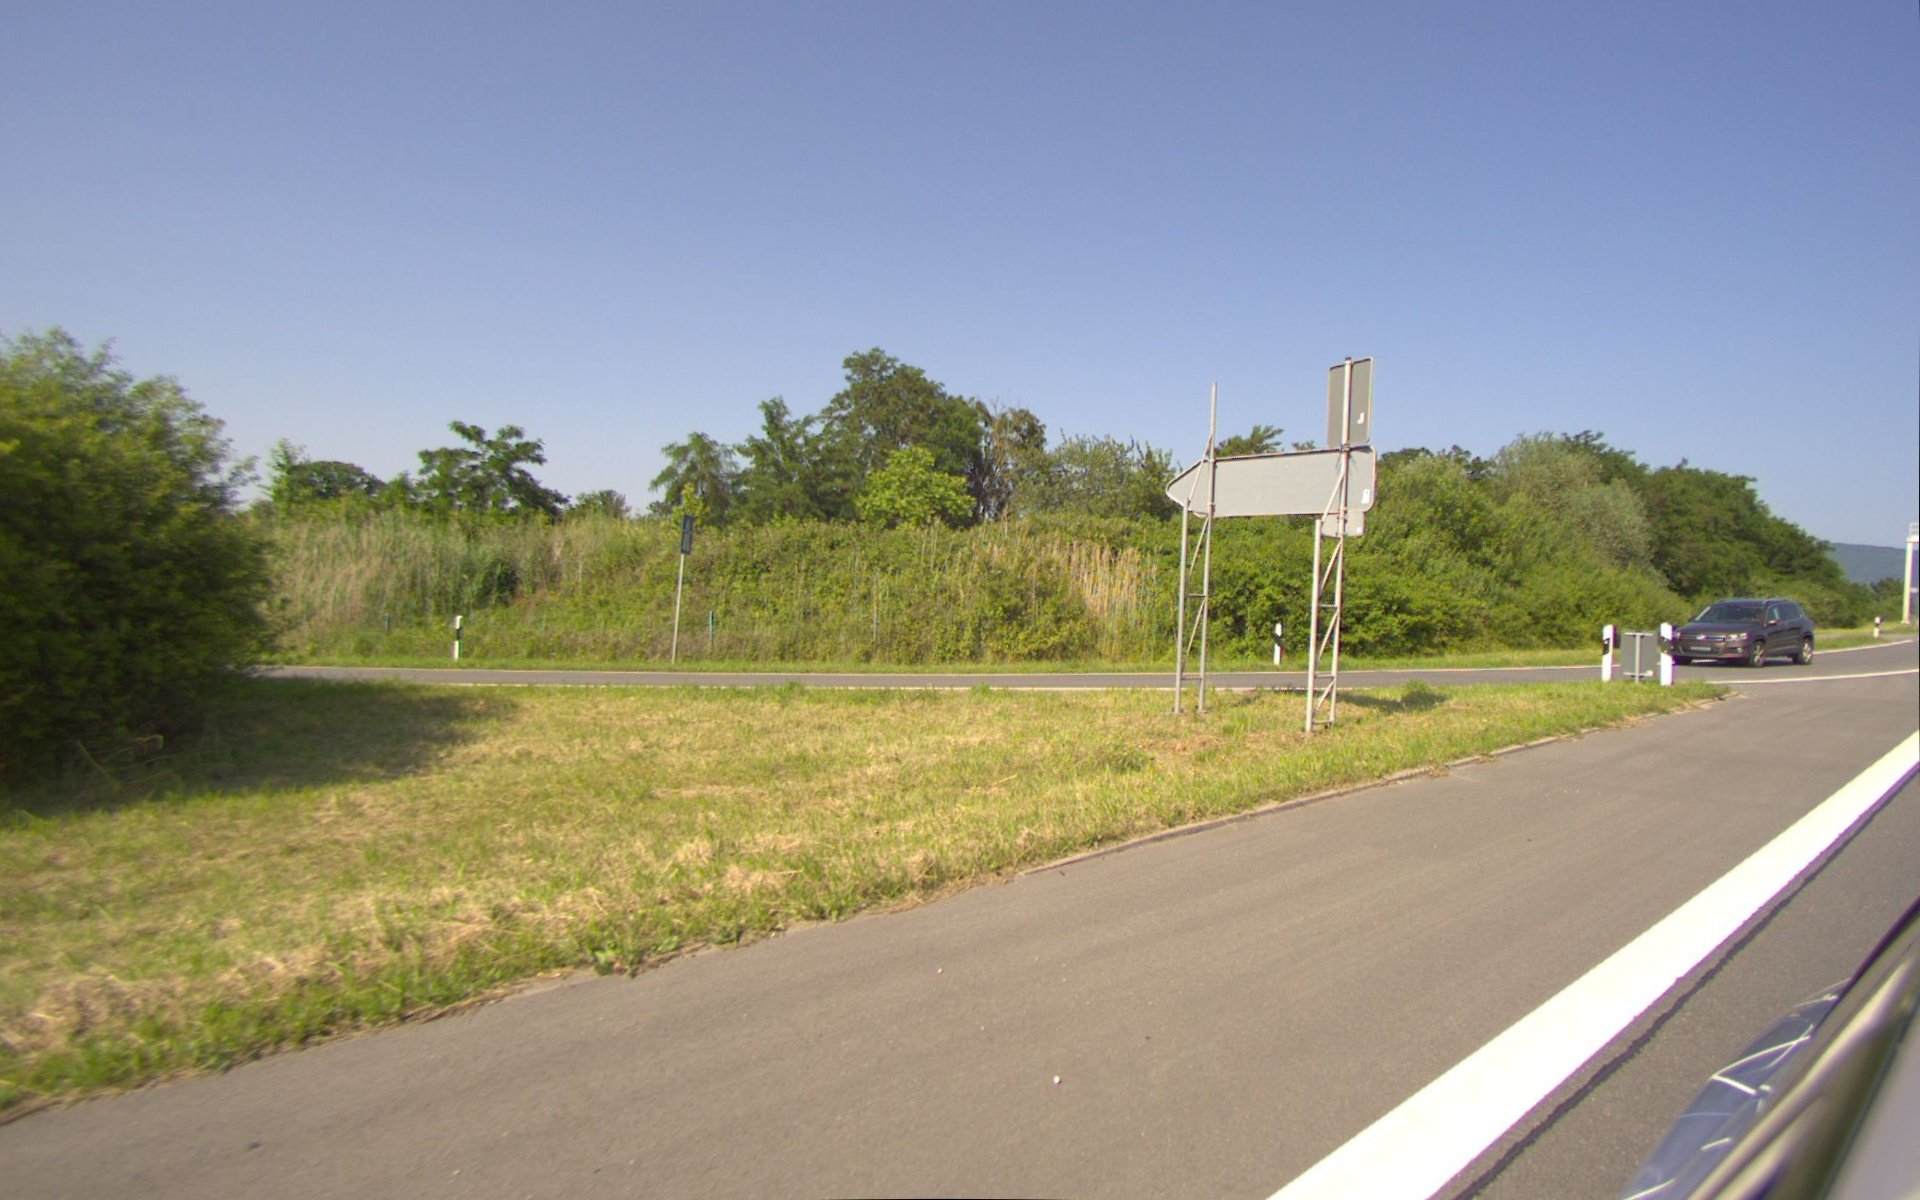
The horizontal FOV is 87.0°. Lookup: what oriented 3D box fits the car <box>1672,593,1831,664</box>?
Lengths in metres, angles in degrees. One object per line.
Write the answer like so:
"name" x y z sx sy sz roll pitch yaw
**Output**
"car" 19.911 0.683 25.442 4.065 1.668 1.792 0 -1 -31
